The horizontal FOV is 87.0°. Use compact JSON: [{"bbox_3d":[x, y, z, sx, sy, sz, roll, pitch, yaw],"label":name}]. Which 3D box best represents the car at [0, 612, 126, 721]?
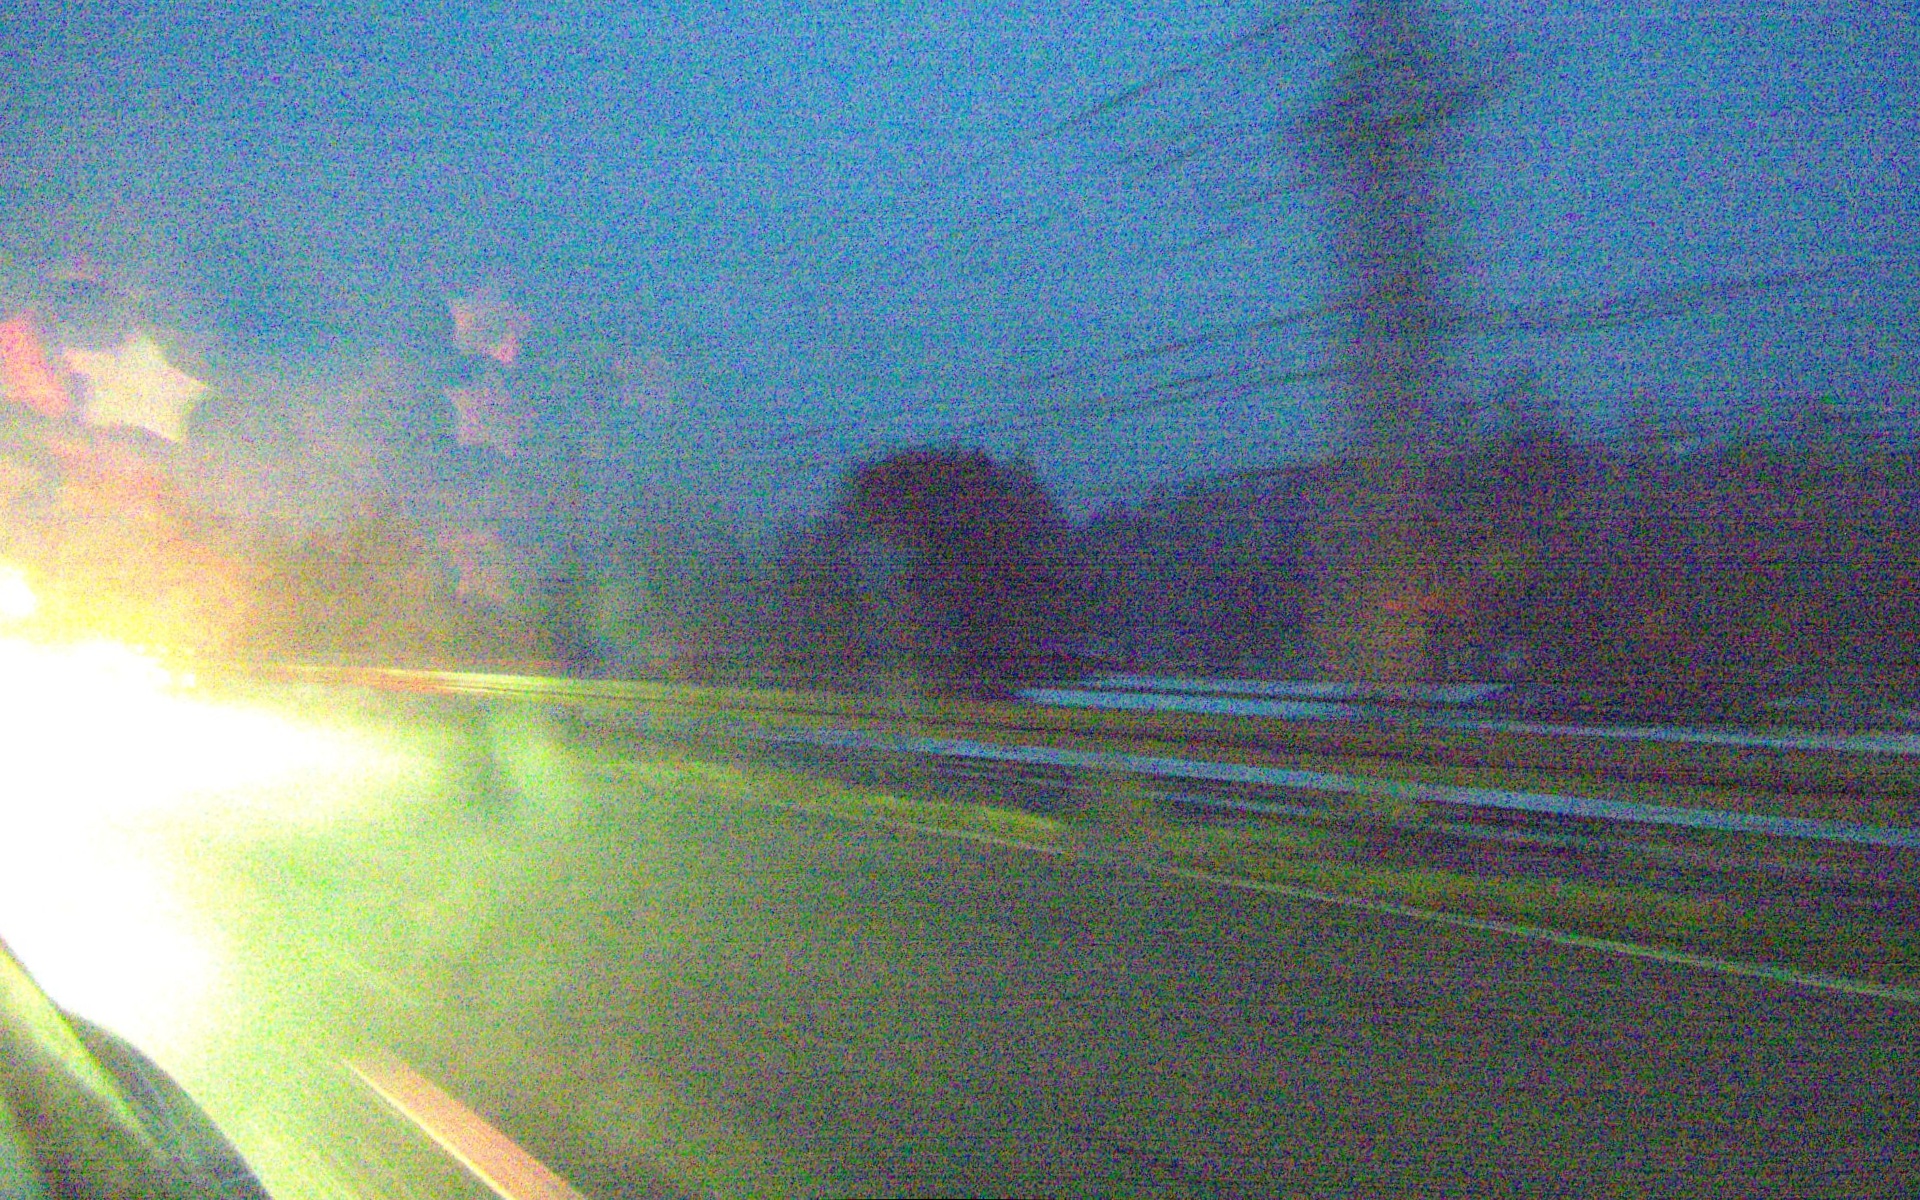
[{"bbox_3d":[-15.669,1.036,16.992,4.153,1.650,1.870,-1,-2,41],"label":"car"}]
